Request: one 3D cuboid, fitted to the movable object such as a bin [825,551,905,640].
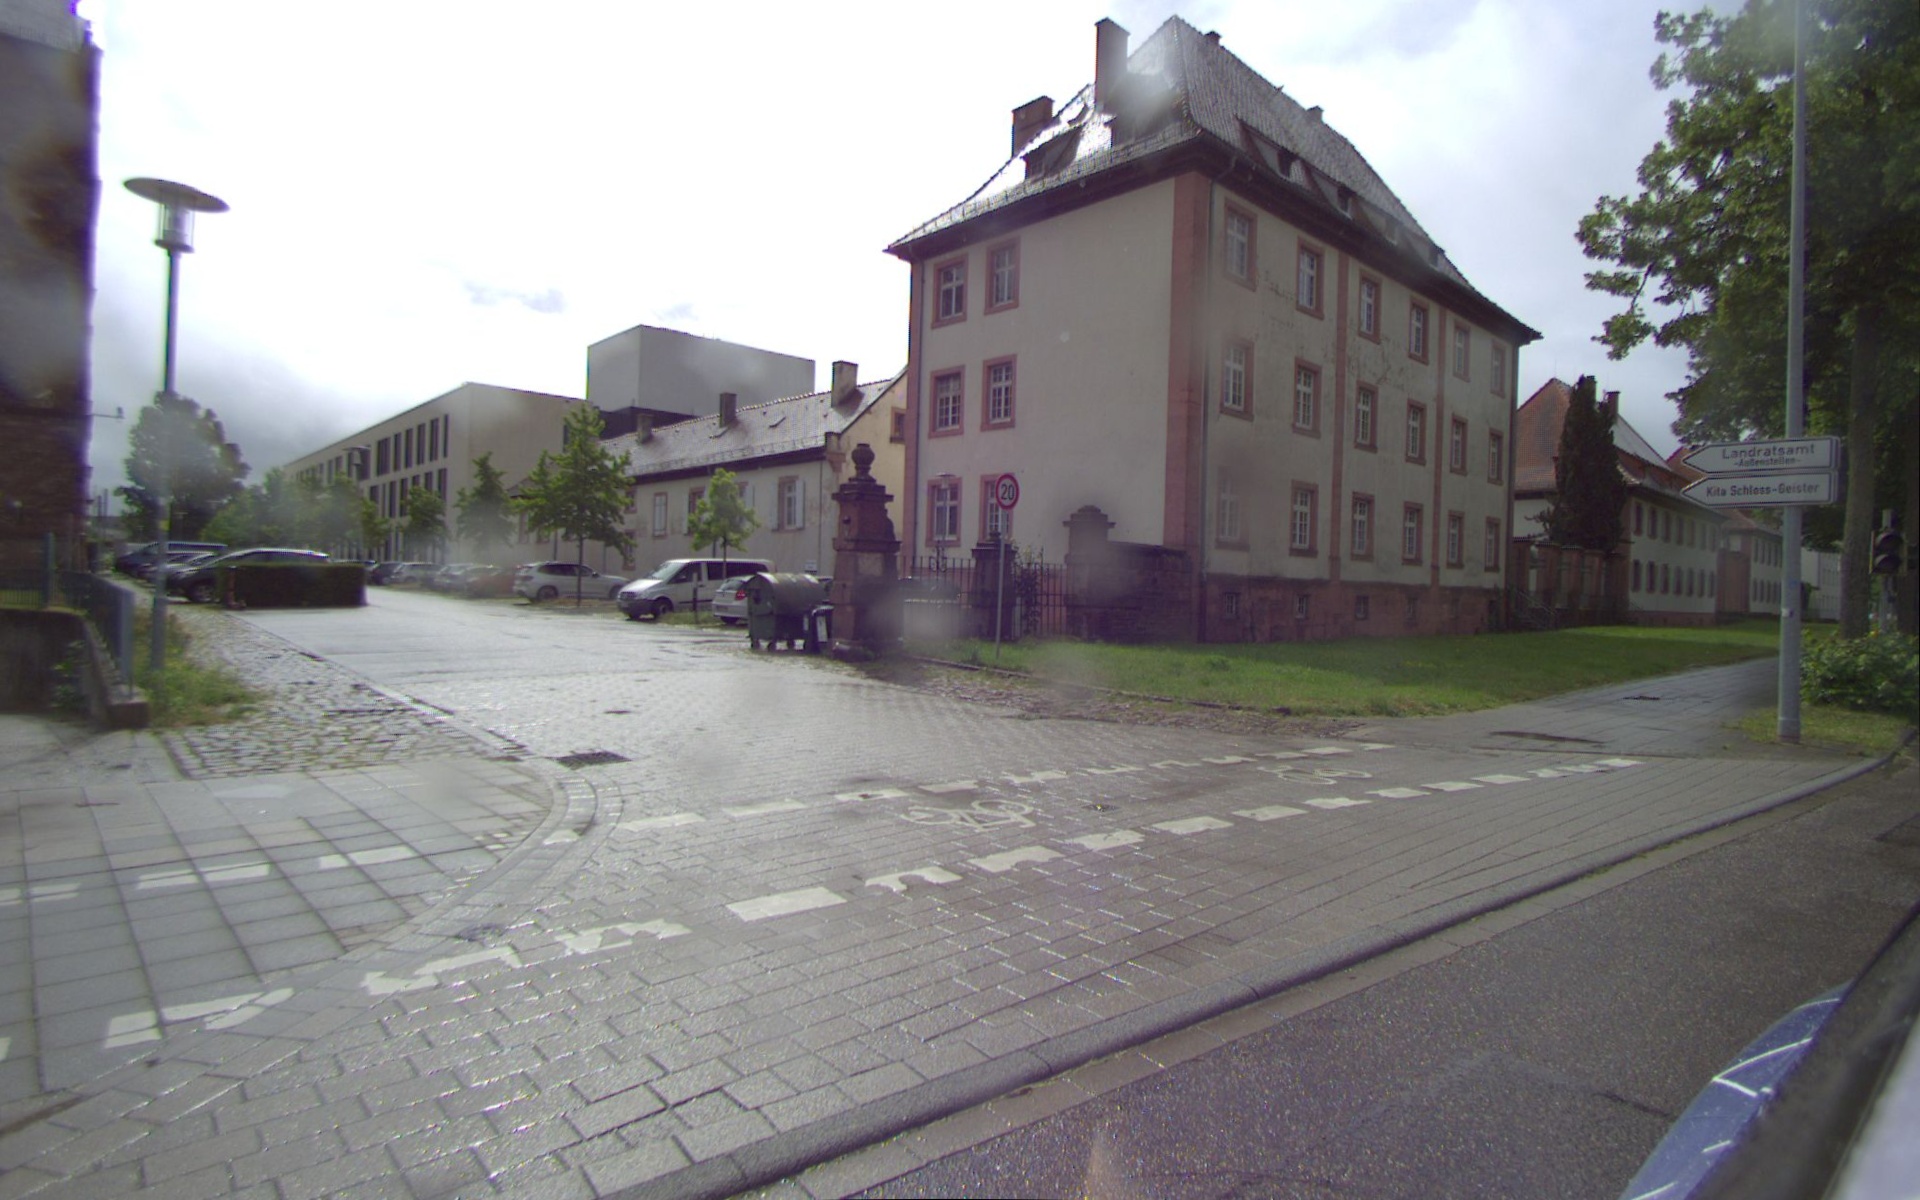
[{"bbox_3d":[-1.654,-0.077,17.682,1.078,1.475,0.801,2,2,-42],"label":"movable object such as a bin"}]

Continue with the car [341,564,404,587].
[{"bbox_3d":[-39.356,-1.643,67.815,3.421,1.489,1.684,0,0,-41],"label":"car"}]

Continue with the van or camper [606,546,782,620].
[{"bbox_3d":[-8.325,-0.479,32.025,5.095,2.144,1.791,1,-1,-42],"label":"van or camper"}]

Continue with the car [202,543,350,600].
[{"bbox_3d":[-21.678,-0.864,32.125,3.739,1.713,1.757,0,0,-40],"label":"car"}]

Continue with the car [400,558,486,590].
[{"bbox_3d":[-27.083,-1.335,53.079,3.709,1.638,1.735,0,0,-42],"label":"car"}]

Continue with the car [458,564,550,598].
[{"bbox_3d":[-20.946,-0.878,46.518,3.512,1.394,1.706,1,2,-42],"label":"car"}]

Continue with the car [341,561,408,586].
[{"bbox_3d":[-36.429,-1.632,62.985,3.421,1.489,1.684,0,0,-41],"label":"car"}]

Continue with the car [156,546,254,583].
[{"bbox_3d":[-36.656,-1.672,49.143,3.739,1.671,1.757,0,0,-40],"label":"car"}]

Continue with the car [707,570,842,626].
[{"bbox_3d":[-5.347,-0.051,29.348,3.512,1.464,1.598,1,2,-42],"label":"car"}]

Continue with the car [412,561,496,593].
[{"bbox_3d":[-25.704,-1.160,51.458,3.512,1.495,1.706,1,2,-42],"label":"car"}]

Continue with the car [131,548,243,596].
[{"bbox_3d":[-32.980,-1.159,43.227,3.739,1.923,1.757,0,0,-40],"label":"car"}]

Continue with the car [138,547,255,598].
[{"bbox_3d":[-31.051,-1.088,41.208,3.739,1.996,1.757,0,0,-40],"label":"car"}]

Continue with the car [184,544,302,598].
[{"bbox_3d":[-28.564,-1.128,40.358,3.739,2.033,1.757,0,0,-40],"label":"car"}]

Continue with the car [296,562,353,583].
[{"bbox_3d":[-47.213,-1.995,75.202,3.421,1.489,1.684,0,0,-41],"label":"car"}]

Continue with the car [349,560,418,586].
[{"bbox_3d":[-34.751,-1.609,61.035,3.421,1.489,1.684,0,0,-41],"label":"car"}]

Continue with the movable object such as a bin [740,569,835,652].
[{"bbox_3d":[-3.291,0.192,19.338,1.366,1.475,1.108,1,2,-42],"label":"movable object such as a bin"}]

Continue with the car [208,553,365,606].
[{"bbox_3d":[-19.961,-0.571,30.063,3.739,1.471,1.757,0,0,-40],"label":"car"}]
